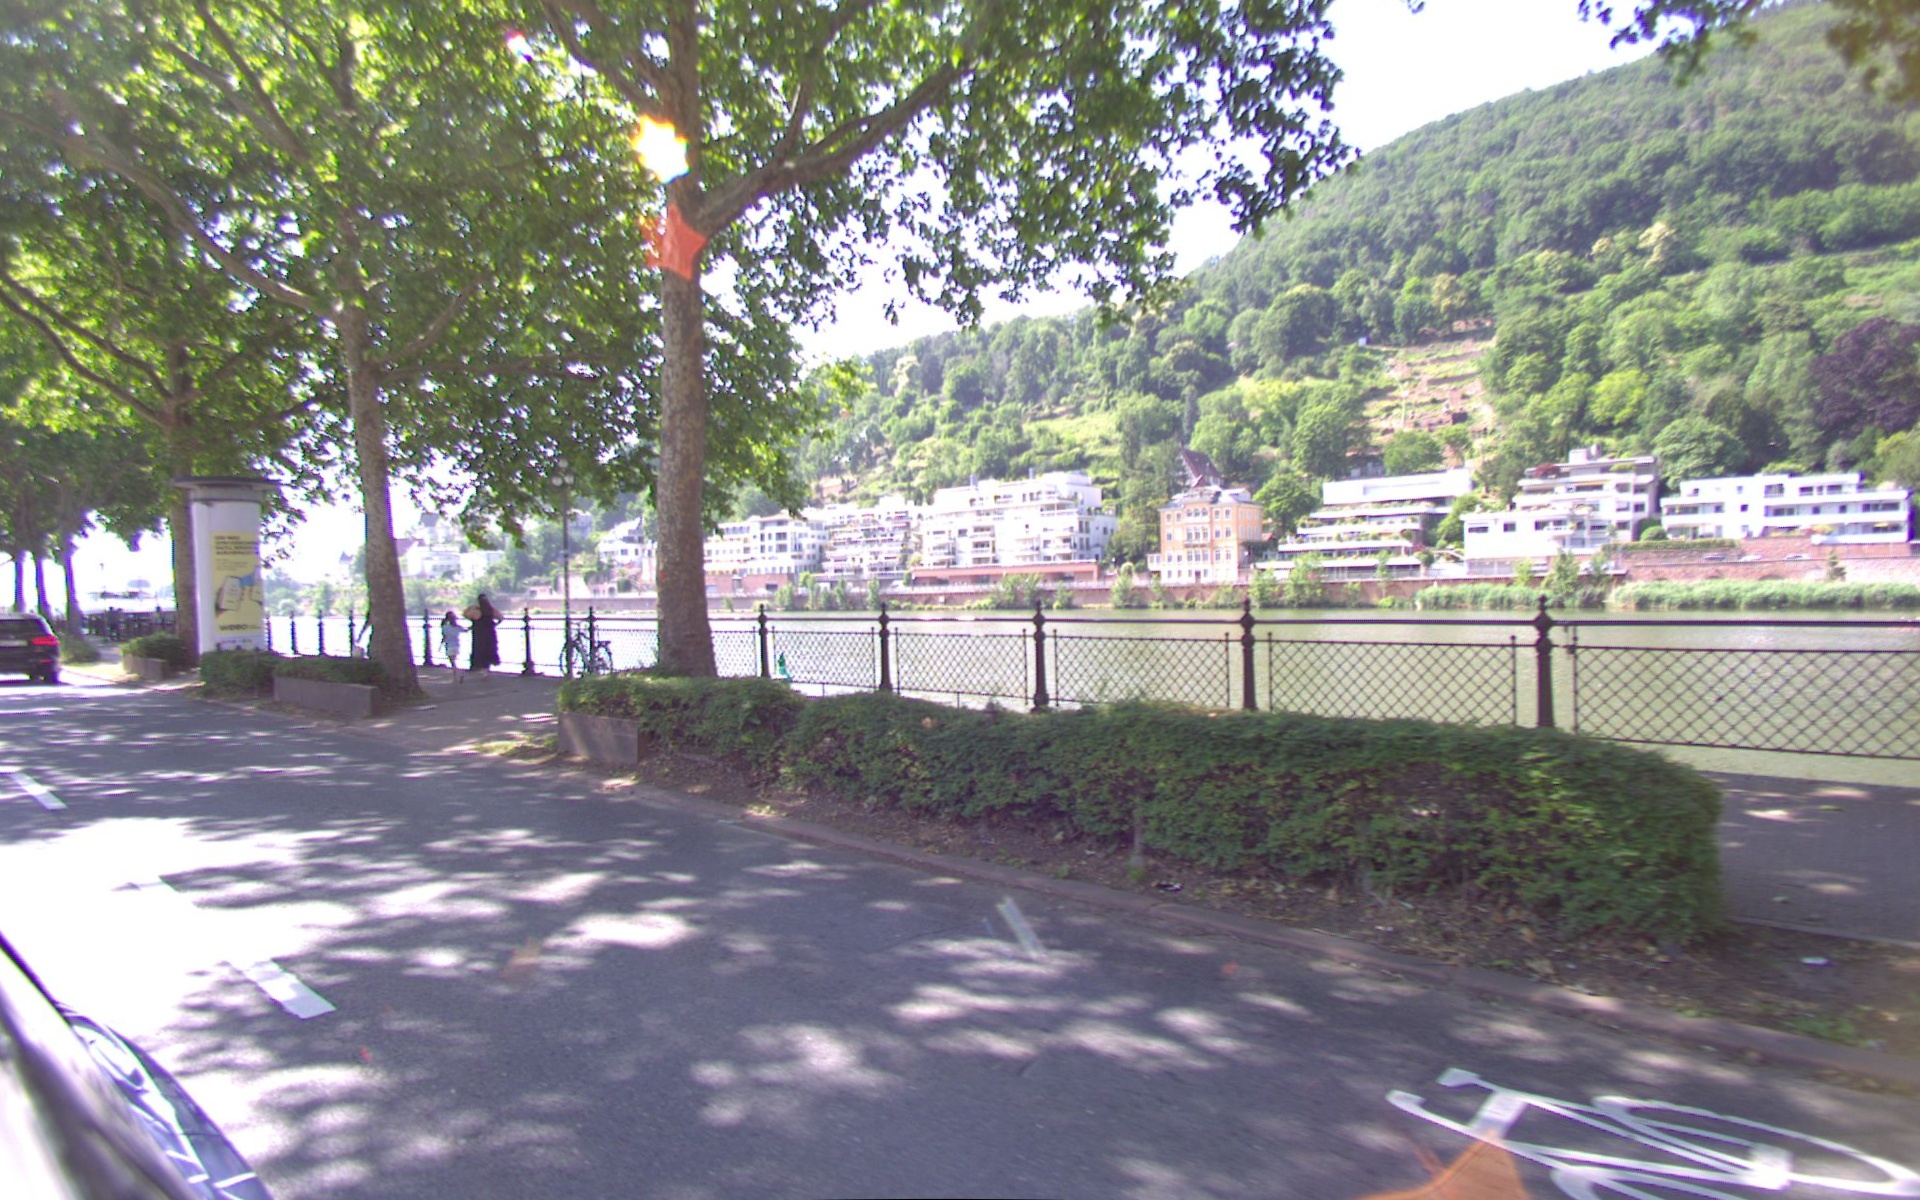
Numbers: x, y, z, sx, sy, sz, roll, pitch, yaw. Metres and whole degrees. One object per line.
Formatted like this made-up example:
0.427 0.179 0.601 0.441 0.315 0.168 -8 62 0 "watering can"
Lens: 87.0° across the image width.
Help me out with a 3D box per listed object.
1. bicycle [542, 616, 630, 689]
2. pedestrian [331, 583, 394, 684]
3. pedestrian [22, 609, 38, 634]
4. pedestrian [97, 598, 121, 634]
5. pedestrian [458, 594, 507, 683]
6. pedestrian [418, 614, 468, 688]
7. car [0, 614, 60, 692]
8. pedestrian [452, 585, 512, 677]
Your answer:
-6.440 0.877 17.389 1.843 1.161 0.557 -1 3 41 "bicycle"
-10.677 0.572 18.088 0.729 1.743 0.750 -1 1 41 "pedestrian"
-64.438 1.481 70.142 0.730 1.719 0.750 -1 0 43 "pedestrian"
-41.965 0.787 49.913 0.729 1.719 0.750 -1 1 41 "pedestrian"
-9.018 0.716 19.117 0.552 1.640 0.625 -1 1 41 "pedestrian"
-9.572 0.928 18.738 0.552 1.330 0.625 -1 1 41 "pedestrian"
-22.827 1.229 23.923 4.743 1.683 1.850 -2 -1 42 "car"
-9.102 0.568 19.285 0.709 1.696 0.783 -1 1 41 "pedestrian"
